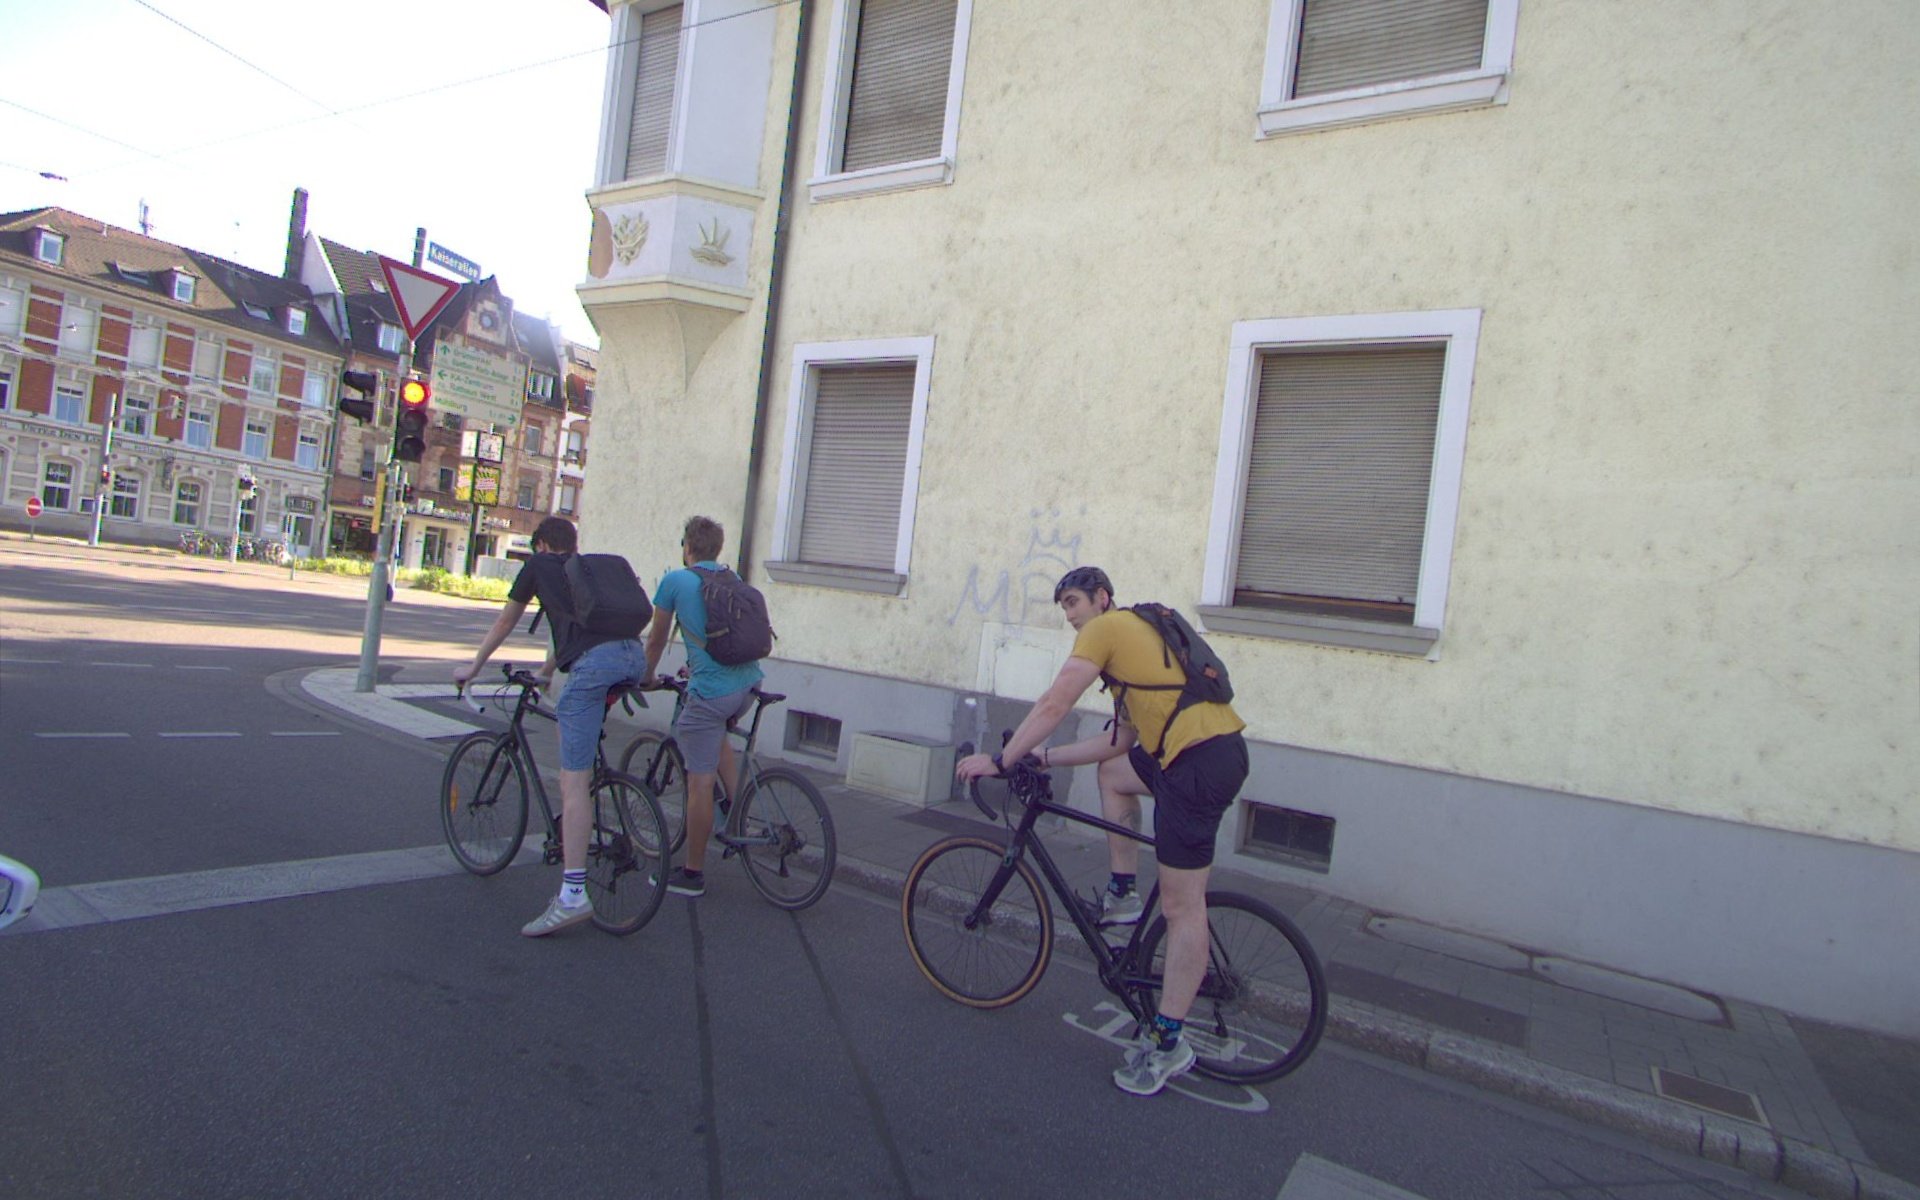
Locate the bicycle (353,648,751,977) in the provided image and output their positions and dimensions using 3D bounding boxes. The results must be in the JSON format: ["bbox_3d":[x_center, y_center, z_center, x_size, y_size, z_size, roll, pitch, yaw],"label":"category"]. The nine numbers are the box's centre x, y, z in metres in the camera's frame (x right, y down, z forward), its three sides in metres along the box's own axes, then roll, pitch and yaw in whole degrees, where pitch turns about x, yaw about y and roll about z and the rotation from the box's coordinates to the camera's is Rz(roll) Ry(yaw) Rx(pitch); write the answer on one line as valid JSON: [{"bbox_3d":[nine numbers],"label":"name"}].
[{"bbox_3d":[-1.918,0.856,4.598,1.897,1.023,0.645,7,0,34],"label":"bicycle"}]

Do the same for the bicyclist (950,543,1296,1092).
[{"bbox_3d":[0.612,0.721,3.778,0.939,1.742,0.582,7,0,32],"label":"bicyclist"}]

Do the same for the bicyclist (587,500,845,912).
[{"bbox_3d":[-1.274,0.500,5.253,0.961,1.917,0.602,6,-1,34],"label":"bicyclist"}]

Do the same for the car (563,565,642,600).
[{"bbox_3d":[-23.168,-1.119,65.327,2.116,1.660,4.340,7,-1,31],"label":"car"}]

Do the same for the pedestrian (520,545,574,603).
[{"bbox_3d":[-16.565,-1.036,40.384,1.285,2.068,1.321,7,0,31],"label":"pedestrian"}]

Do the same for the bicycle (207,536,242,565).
[{"bbox_3d":[-34.210,-2.304,46.766,2.140,1.157,0.618,7,0,37],"label":"bicycle"}]

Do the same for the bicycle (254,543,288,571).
[{"bbox_3d":[-33.112,-2.063,48.322,2.102,1.150,0.609,7,0,37],"label":"bicycle"}]

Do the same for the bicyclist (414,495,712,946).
[{"bbox_3d":[-1.807,0.474,4.552,1.083,1.775,0.562,7,0,34],"label":"bicyclist"}]

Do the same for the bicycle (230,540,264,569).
[{"bbox_3d":[-33.677,-2.157,47.517,2.140,1.157,0.618,7,0,37],"label":"bicycle"}]

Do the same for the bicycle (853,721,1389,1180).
[{"bbox_3d":[0.548,1.148,3.773,1.780,1.101,0.611,7,0,32],"label":"bicycle"}]

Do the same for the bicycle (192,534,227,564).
[{"bbox_3d":[-34.545,-2.352,46.289,2.140,1.157,0.618,7,0,37],"label":"bicycle"}]

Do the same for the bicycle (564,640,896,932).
[{"bbox_3d":[-1.258,0.887,5.287,1.784,1.130,0.519,7,0,34],"label":"bicycle"}]

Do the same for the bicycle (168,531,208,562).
[{"bbox_3d":[-35.059,-2.441,45.686,2.140,1.157,0.806,7,0,37],"label":"bicycle"}]
